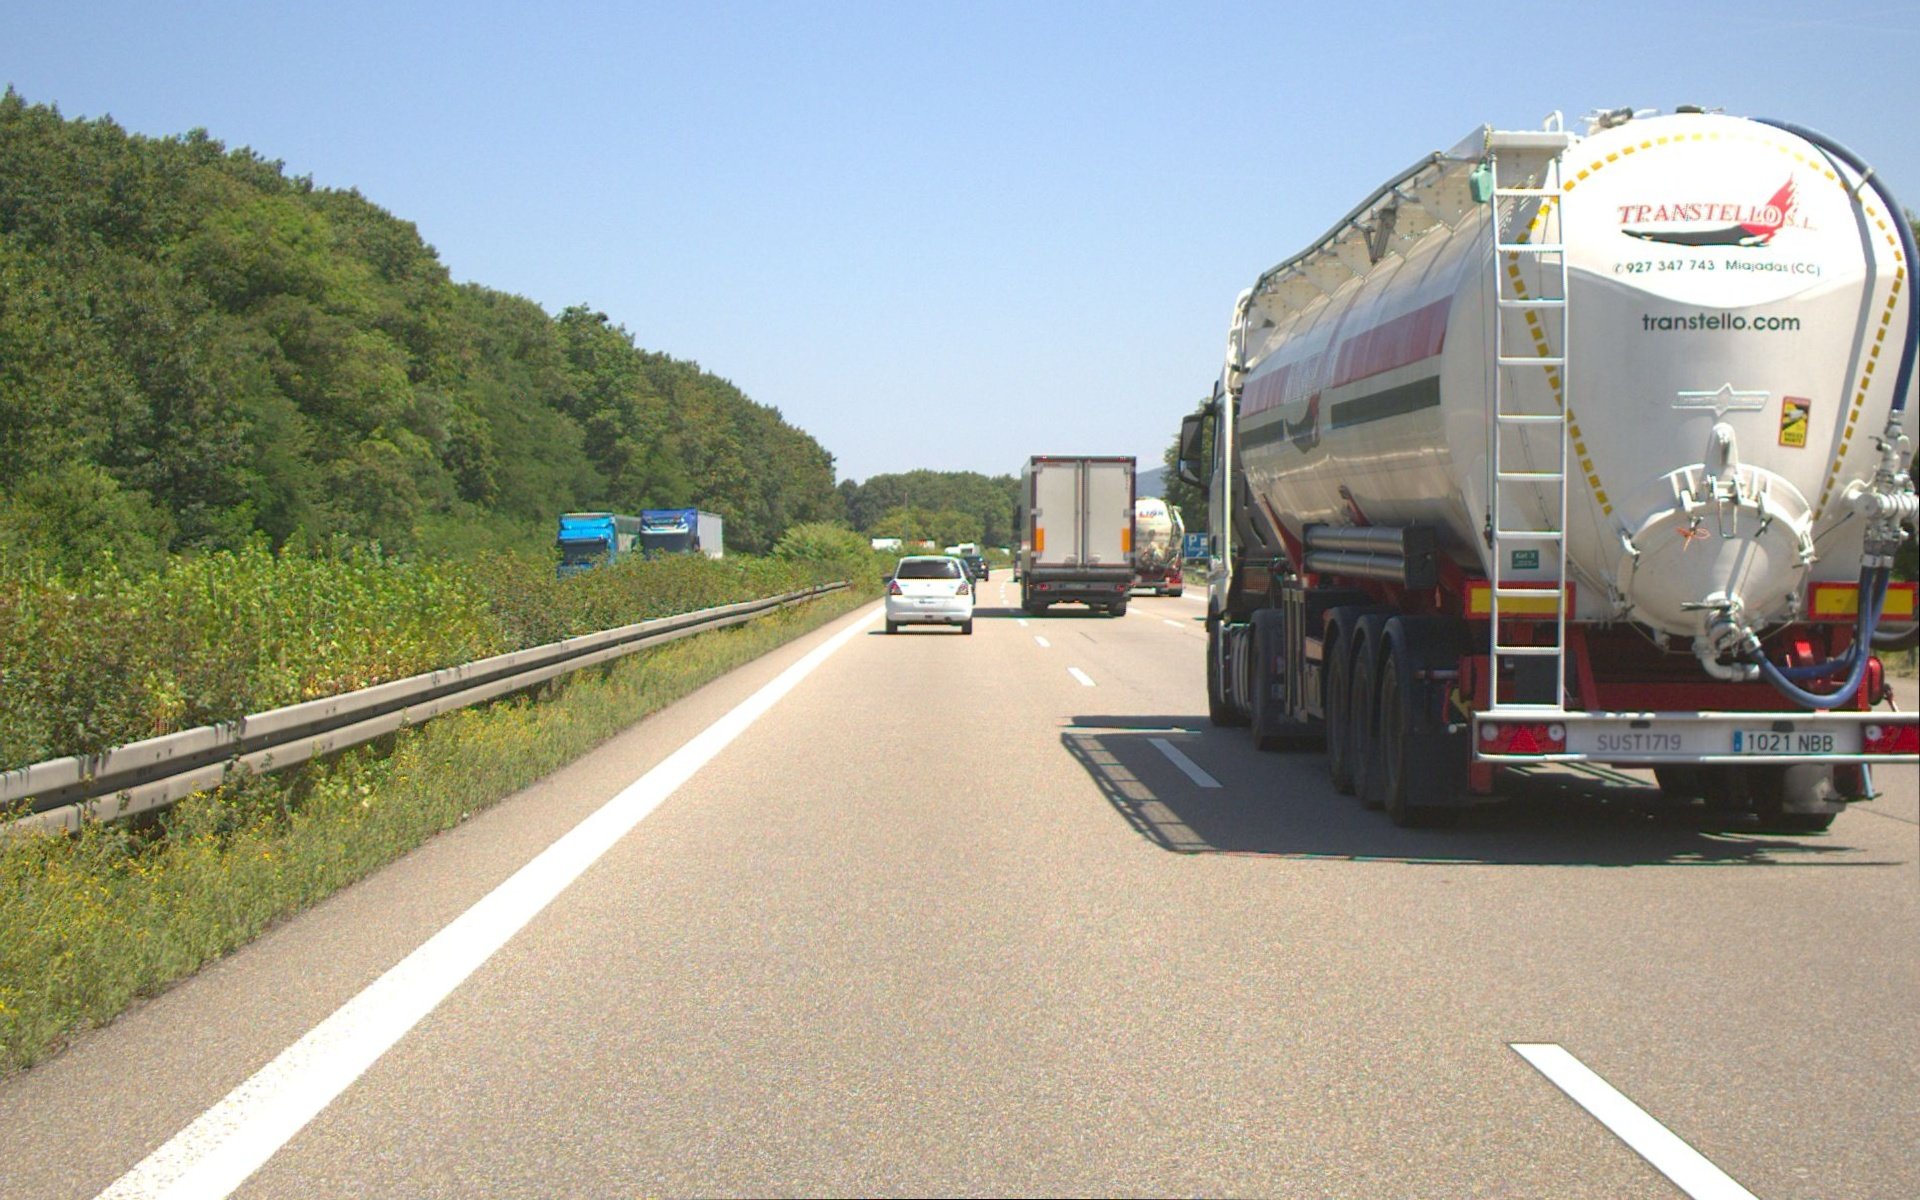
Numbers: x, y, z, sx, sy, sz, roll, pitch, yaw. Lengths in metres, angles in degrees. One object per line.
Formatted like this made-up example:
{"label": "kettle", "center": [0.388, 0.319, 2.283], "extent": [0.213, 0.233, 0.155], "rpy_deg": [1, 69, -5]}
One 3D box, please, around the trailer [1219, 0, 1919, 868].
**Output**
{"label": "trailer", "center": [3.667, -0.908, 22.673], "extent": [2.790, 4.190, 12.354], "rpy_deg": [0, 1, -1]}

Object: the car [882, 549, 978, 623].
{"label": "car", "center": [-0.610, -0.289, 67.412], "extent": [1.811, 1.400, 3.317], "rpy_deg": [0, 1, -1]}

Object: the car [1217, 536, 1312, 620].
{"label": "car", "center": [7.476, -0.564, 84.883], "extent": [1.856, 1.996, 5.522], "rpy_deg": [1, 1, 0]}

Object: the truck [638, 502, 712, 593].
{"label": "truck", "center": [-12.725, -2.364, 153.906], "extent": [2.870, 3.996, 5.000], "rpy_deg": [0, 1, 0]}

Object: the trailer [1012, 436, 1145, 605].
{"label": "trailer", "center": [3.149, -2.041, 90.624], "extent": [3.224, 4.129, 12.351], "rpy_deg": [0, 1, 2]}

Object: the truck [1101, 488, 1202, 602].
{"label": "truck", "center": [7.546, -2.196, 136.842], "extent": [3.223, 4.330, 10.808], "rpy_deg": [0, 1, -1]}

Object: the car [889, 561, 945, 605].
{"label": "car", "center": [-1.316, -0.550, 106.629], "extent": [1.668, 1.285, 4.000], "rpy_deg": [-1, 1, 0]}

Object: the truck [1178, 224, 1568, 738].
{"label": "truck", "center": [3.544, -1.015, 30.659], "extent": [2.790, 4.190, 5.000], "rpy_deg": [0, 1, -1]}

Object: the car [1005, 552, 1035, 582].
{"label": "car", "center": [3.559, -1.967, 204.640], "extent": [1.668, 1.759, 4.000], "rpy_deg": [0, 1, 0]}

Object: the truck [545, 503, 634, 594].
{"label": "truck", "center": [-17.372, -2.416, 161.665], "extent": [3.013, 4.100, 10.000], "rpy_deg": [0, 1, 0]}
